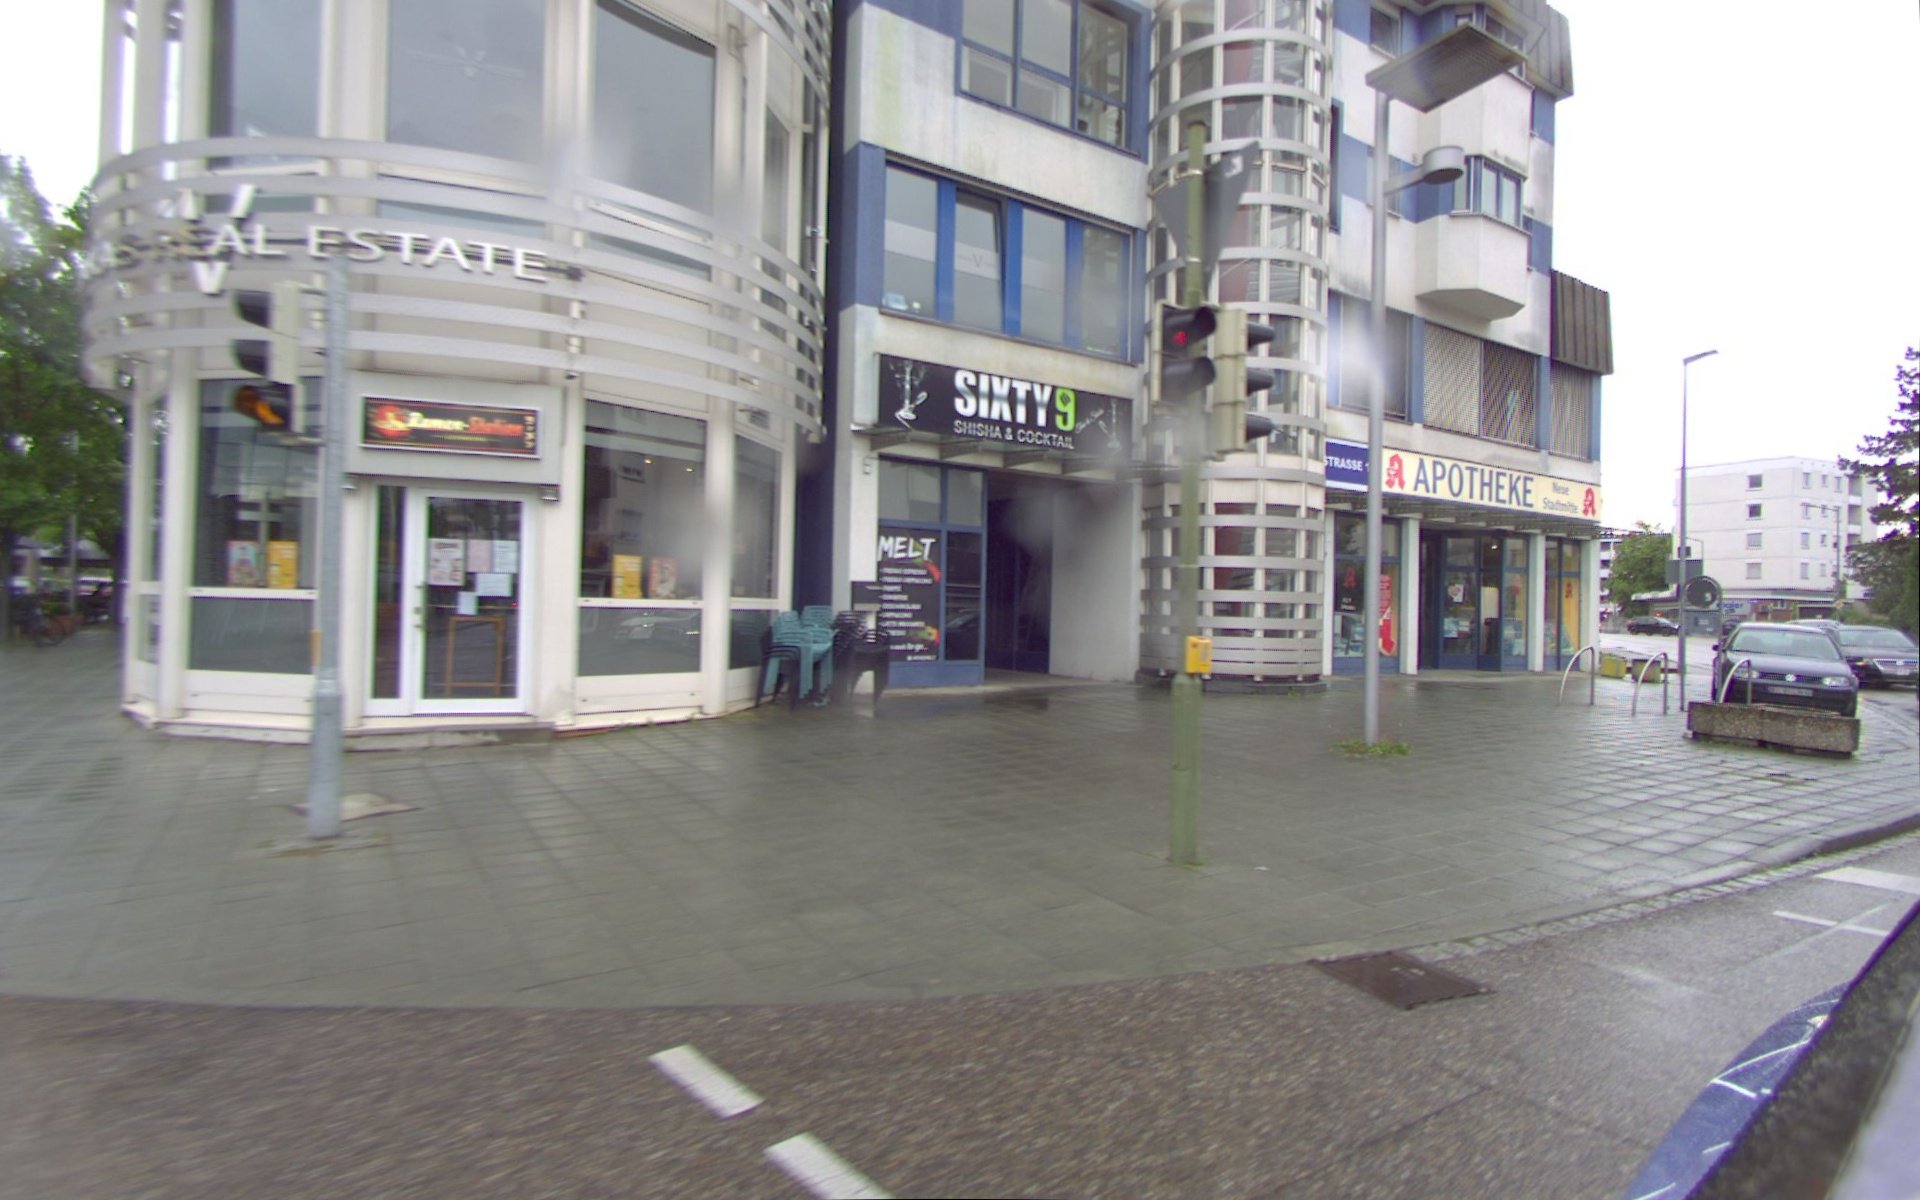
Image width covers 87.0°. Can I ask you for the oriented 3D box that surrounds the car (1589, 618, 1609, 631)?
[{"bbox_3d":[80.961,3.094,128.226,1.854,1.455,3.705,1,0,27],"label":"car"}]

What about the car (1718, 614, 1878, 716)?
[{"bbox_3d":[13.679,0.976,16.717,1.645,1.389,3.684,4,1,35],"label":"car"}]

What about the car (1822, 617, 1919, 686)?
[{"bbox_3d":[21.682,1.153,23.797,1.790,1.386,3.923,1,1,35],"label":"car"}]

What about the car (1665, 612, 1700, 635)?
[{"bbox_3d":[55.768,1.787,78.147,1.729,1.660,3.959,1,0,29],"label":"car"}]

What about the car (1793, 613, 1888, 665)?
[{"bbox_3d":[29.702,1.283,34.269,1.987,1.636,3.948,-1,-2,36],"label":"car"}]

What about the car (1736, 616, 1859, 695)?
[{"bbox_3d":[17.569,1.089,21.391,1.649,1.442,3.949,1,0,35],"label":"car"}]
